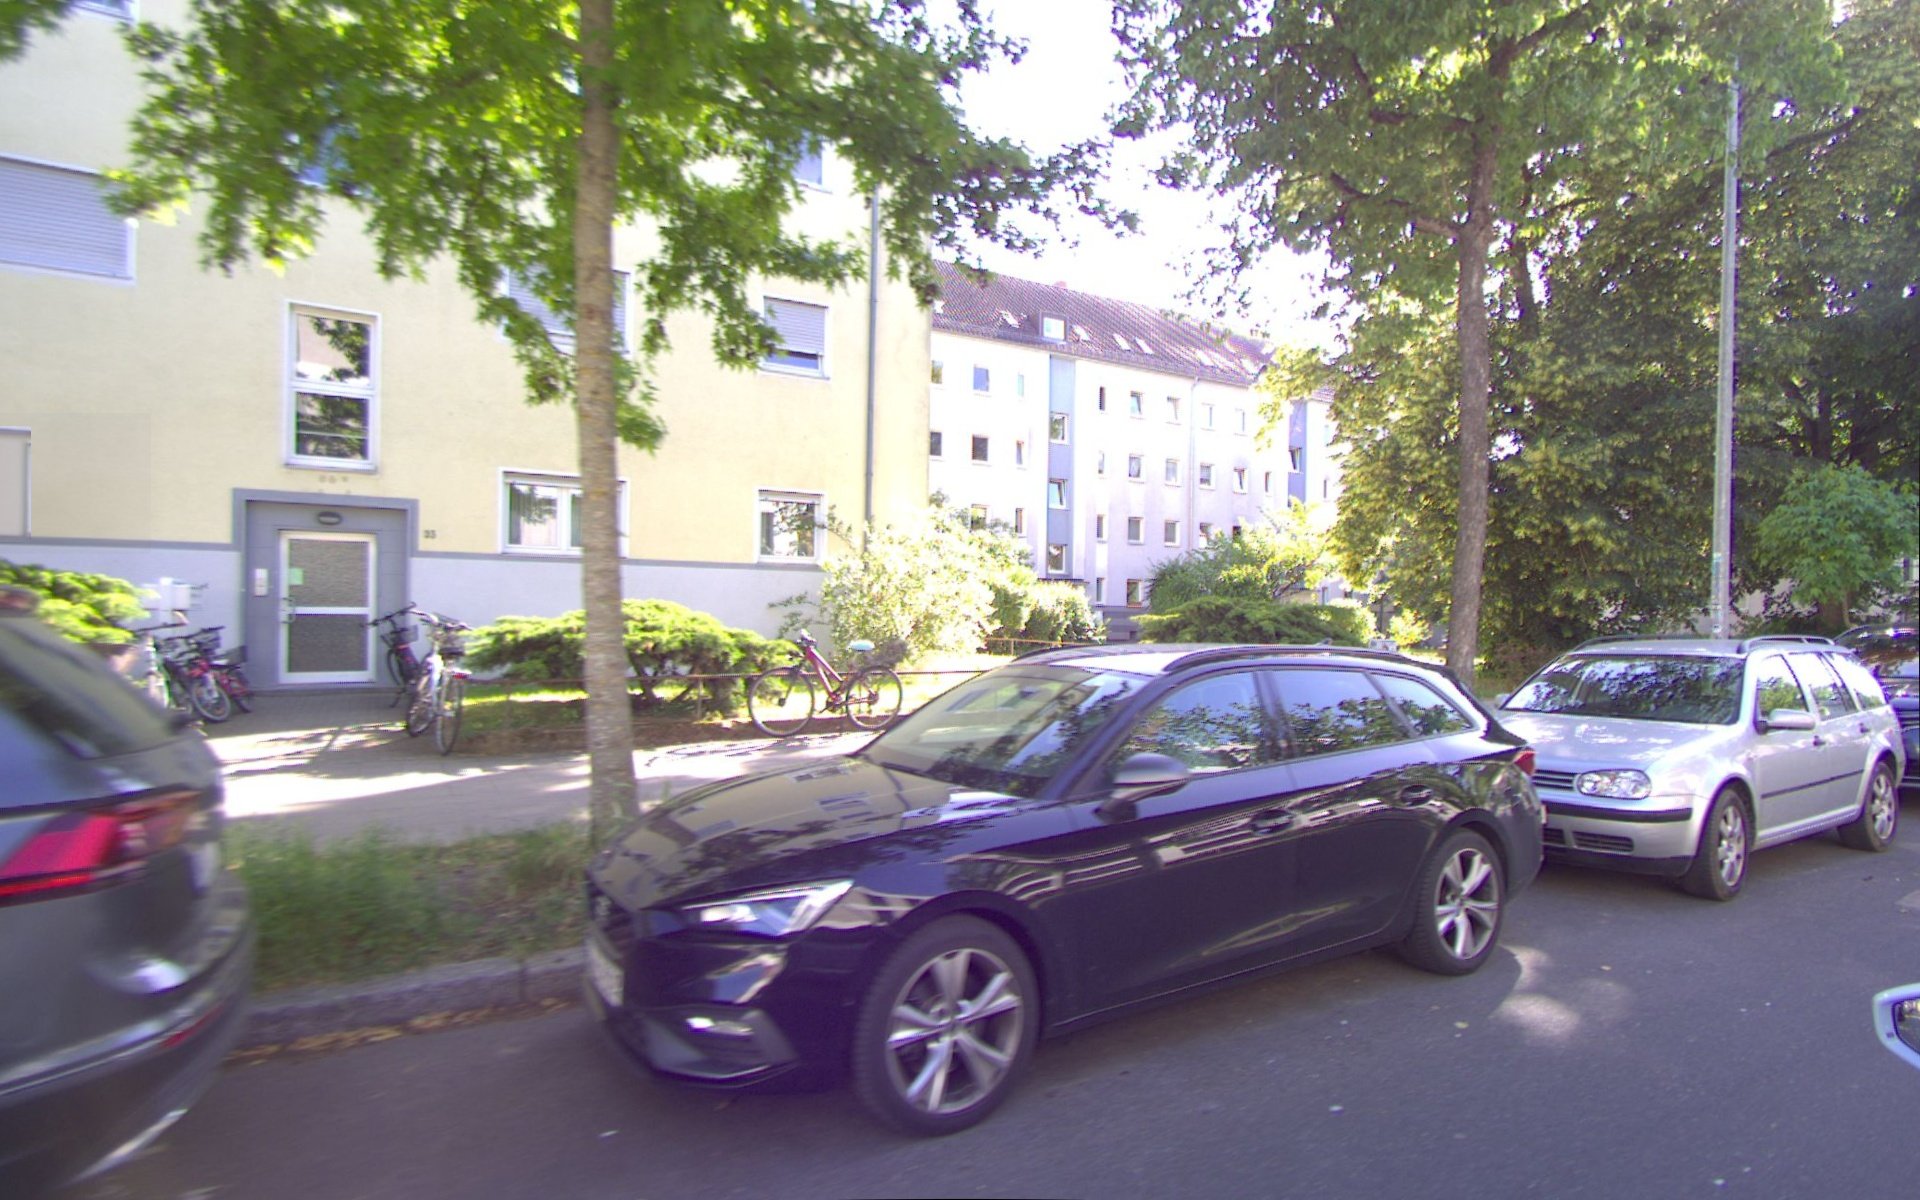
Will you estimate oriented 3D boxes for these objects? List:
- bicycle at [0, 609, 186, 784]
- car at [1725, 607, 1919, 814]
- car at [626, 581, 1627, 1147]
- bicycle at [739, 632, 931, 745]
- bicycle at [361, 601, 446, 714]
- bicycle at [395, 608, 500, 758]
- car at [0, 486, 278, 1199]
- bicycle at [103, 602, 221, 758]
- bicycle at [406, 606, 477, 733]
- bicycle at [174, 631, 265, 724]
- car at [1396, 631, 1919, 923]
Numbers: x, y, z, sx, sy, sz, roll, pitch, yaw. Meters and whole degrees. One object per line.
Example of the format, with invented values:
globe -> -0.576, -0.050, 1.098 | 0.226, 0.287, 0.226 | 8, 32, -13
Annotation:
bicycle -> -6.940, 0.670, 7.118 | 2.236, 1.205, 0.591 | 1, -1, -33
car -> 9.702, 0.953, 9.845 | 5.030, 1.678, 1.832 | 1, -1, -32
car -> 0.966, 0.744, 4.567 | 4.439, 1.471, 1.784 | 1, -1, -32
bicycle -> -1.280, 0.883, 10.468 | 1.911, 1.075, 0.569 | 1, 0, -31
bicycle -> -6.802, 0.656, 12.232 | 0.769, 1.242, 1.940 | 1, 0, -33
bicycle -> -4.774, 0.717, 9.309 | 0.513, 1.242, 1.621 | 1, 0, -40
car -> -3.842, 0.612, 1.625 | 4.480, 1.708, 1.782 | 1, -2, -34
bicycle -> -7.124, 0.652, 9.032 | 0.511, 1.242, 1.813 | 1, 0, -29
bicycle -> -5.612, 0.700, 10.832 | 0.583, 1.242, 1.627 | 1, 0, -30
bicycle -> -8.118, 0.813, 11.069 | 0.578, 0.881, 1.701 | 1, 0, -29
car -> 5.206, 0.983, 7.148 | 4.440, 1.500, 1.697 | 1, -1, -32
